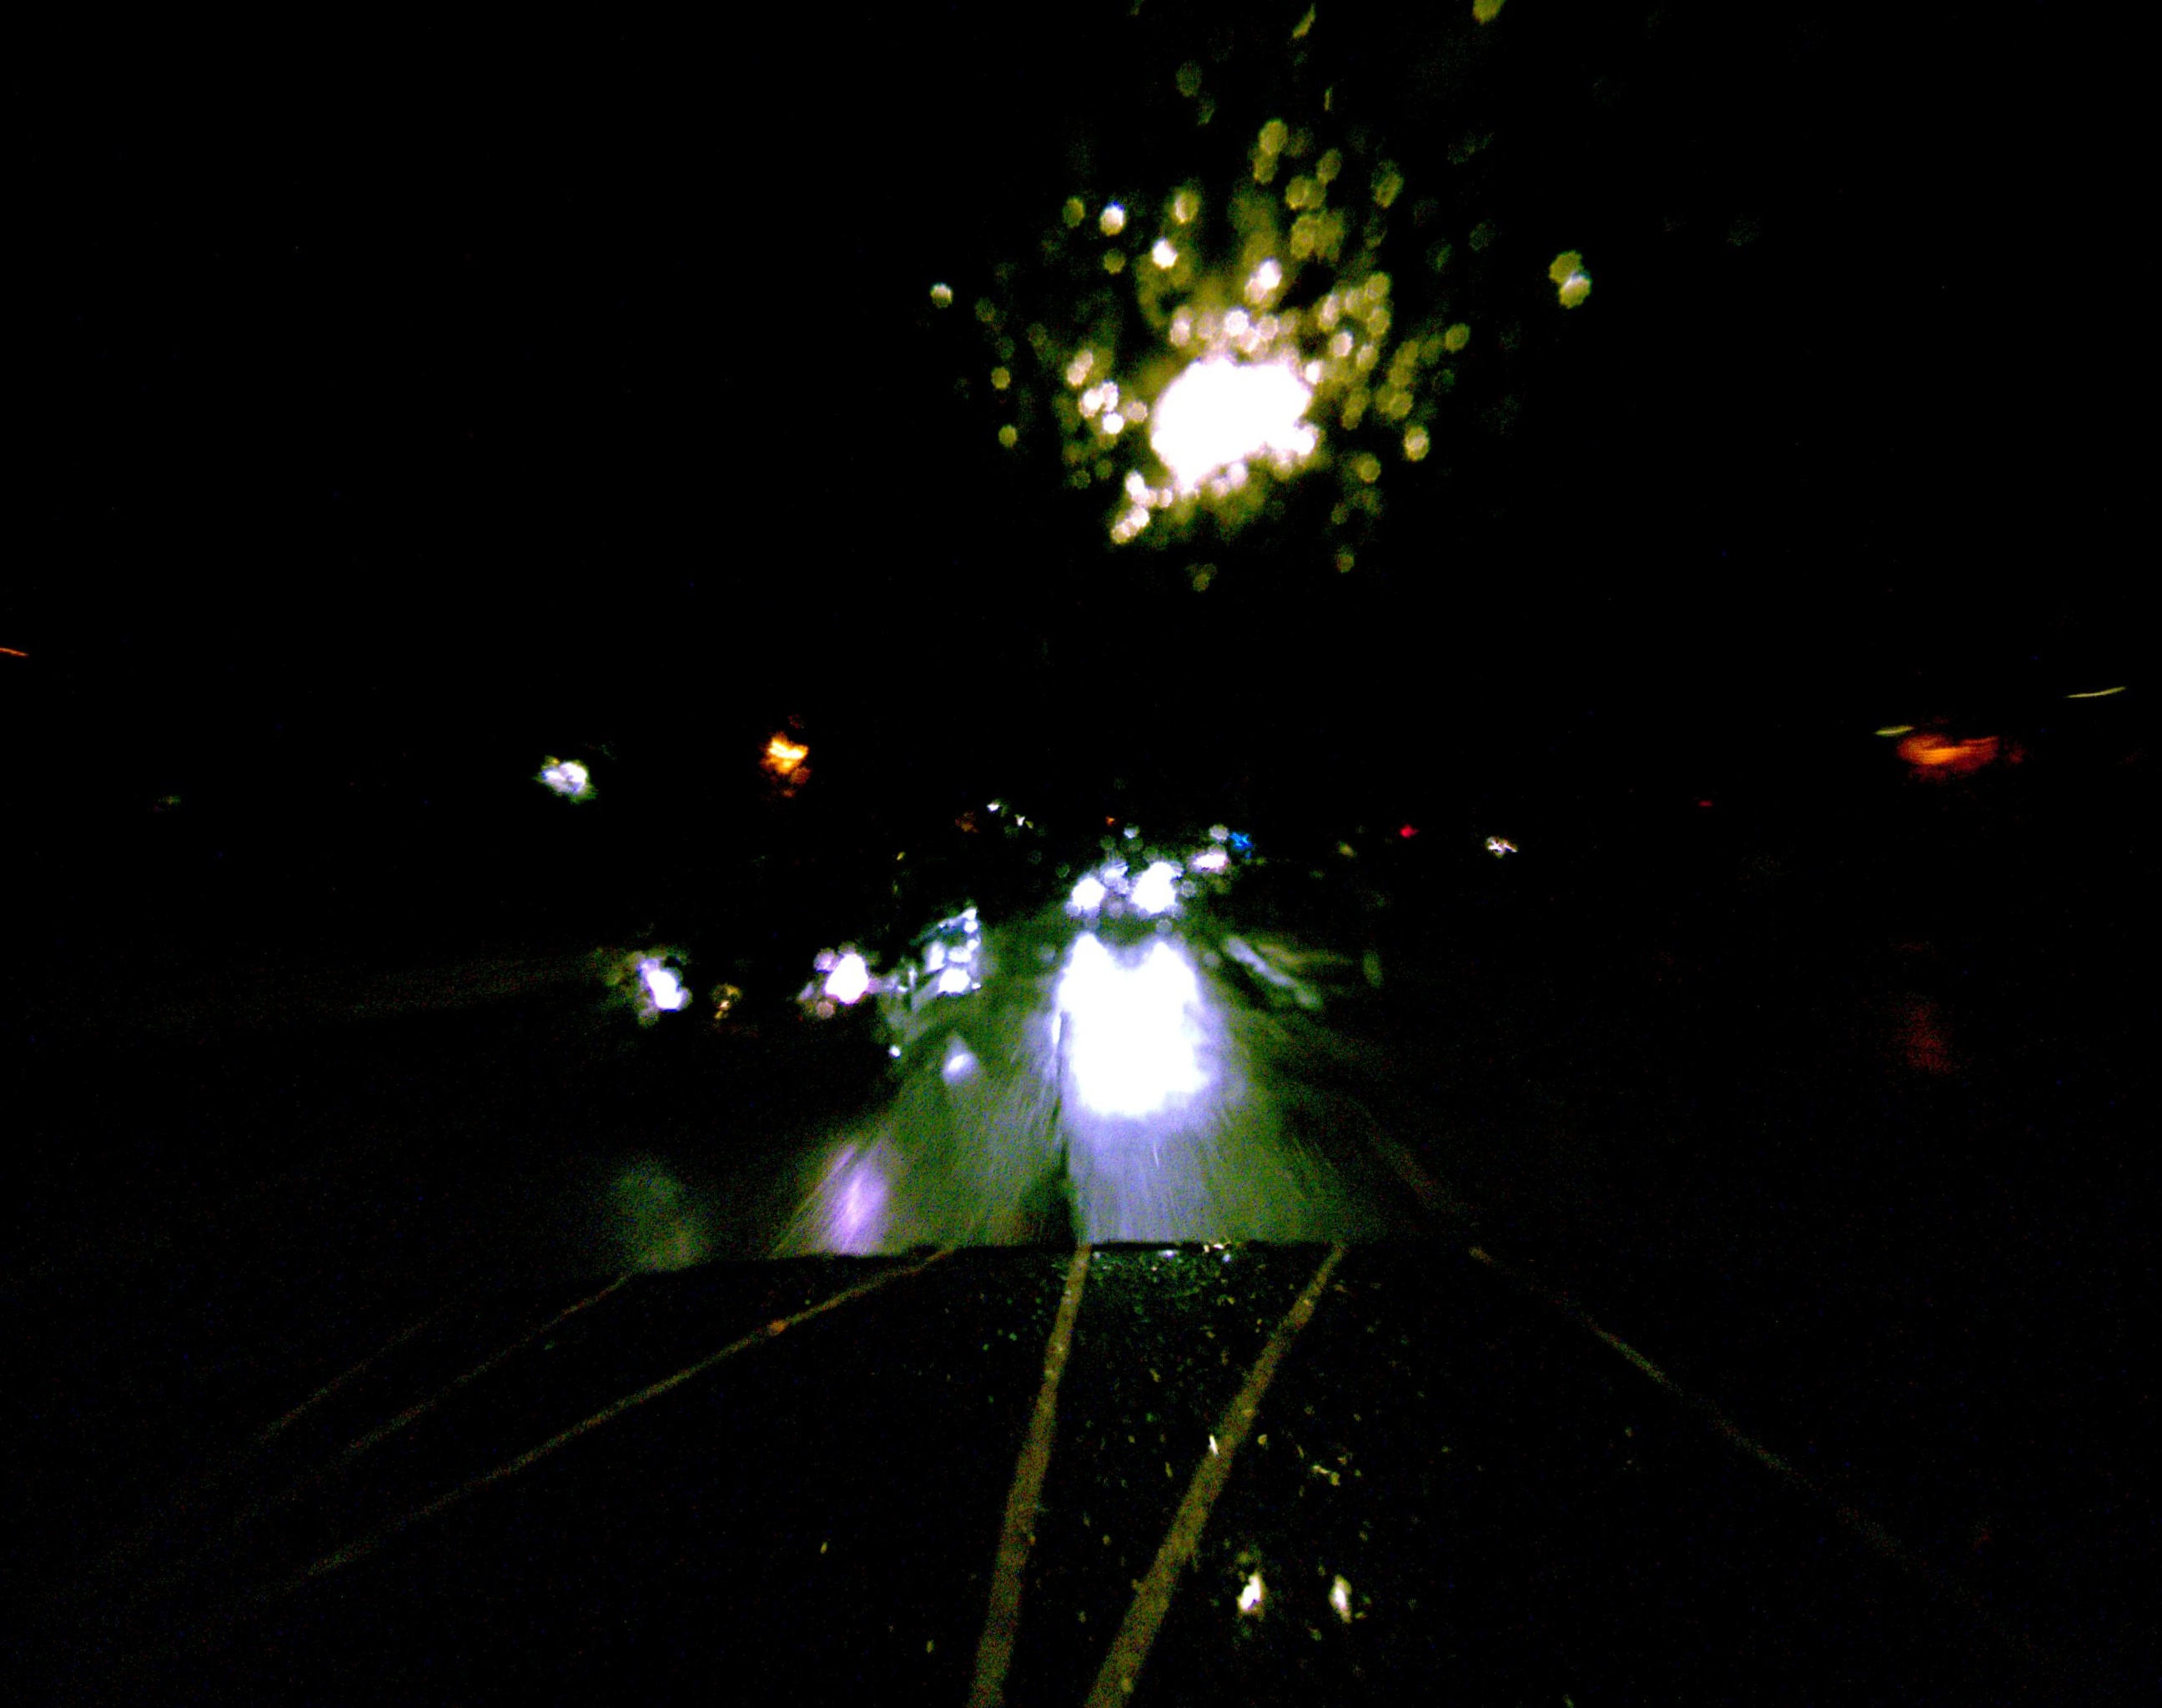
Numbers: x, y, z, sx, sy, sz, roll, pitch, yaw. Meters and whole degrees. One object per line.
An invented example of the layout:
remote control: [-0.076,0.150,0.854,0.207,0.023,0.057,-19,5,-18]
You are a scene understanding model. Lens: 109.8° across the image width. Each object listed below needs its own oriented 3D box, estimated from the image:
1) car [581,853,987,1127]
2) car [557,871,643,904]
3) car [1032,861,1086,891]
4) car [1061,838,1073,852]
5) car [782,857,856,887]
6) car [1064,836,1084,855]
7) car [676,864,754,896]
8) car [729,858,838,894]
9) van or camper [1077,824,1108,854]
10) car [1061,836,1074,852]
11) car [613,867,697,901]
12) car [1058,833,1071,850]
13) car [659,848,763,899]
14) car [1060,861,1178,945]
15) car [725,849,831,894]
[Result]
car: [-2.271,0.916,7.476,1.839,1.725,4.942,-3,0,2]
car: [-21.716,1.519,34.251,3.990,1.277,1.663,-3,0,32]
car: [-1.067,1.110,39.198,1.787,1.433,4.242,-1,-1,12]
car: [-2.182,-1.394,117.169,1.733,2.002,3.700,-3,0,-3]
car: [-14.583,1.007,42.296,3.937,1.478,1.768,-3,0,33]
car: [-0.760,-0.941,85.067,1.999,2.002,3.999,-3,0,-3]
car: [-18.123,1.288,37.558,3.989,1.422,1.848,-3,0,39]
car: [-14.161,1.034,36.433,1.722,1.474,4.715,-3,0,33]
van or camper: [1.131,-1.481,77.615,2.414,2.776,5.770,-3,0,-5]
car: [-2.238,-1.628,122.797,1.935,2.406,4.254,-3,0,-3]
car: [-20.193,1.428,35.952,3.990,1.375,1.732,-3,0,33]
car: [-2.769,-2.050,128.517,1.935,2.758,4.254,-3,0,-3]
car: [-12.713,0.677,25.986,3.877,1.564,1.837,-3,0,43]
car: [1.013,1.033,17.484,1.824,1.573,4.359,-3,0,14]
car: [-11.248,0.673,28.079,4.330,1.451,1.855,-3,0,43]
